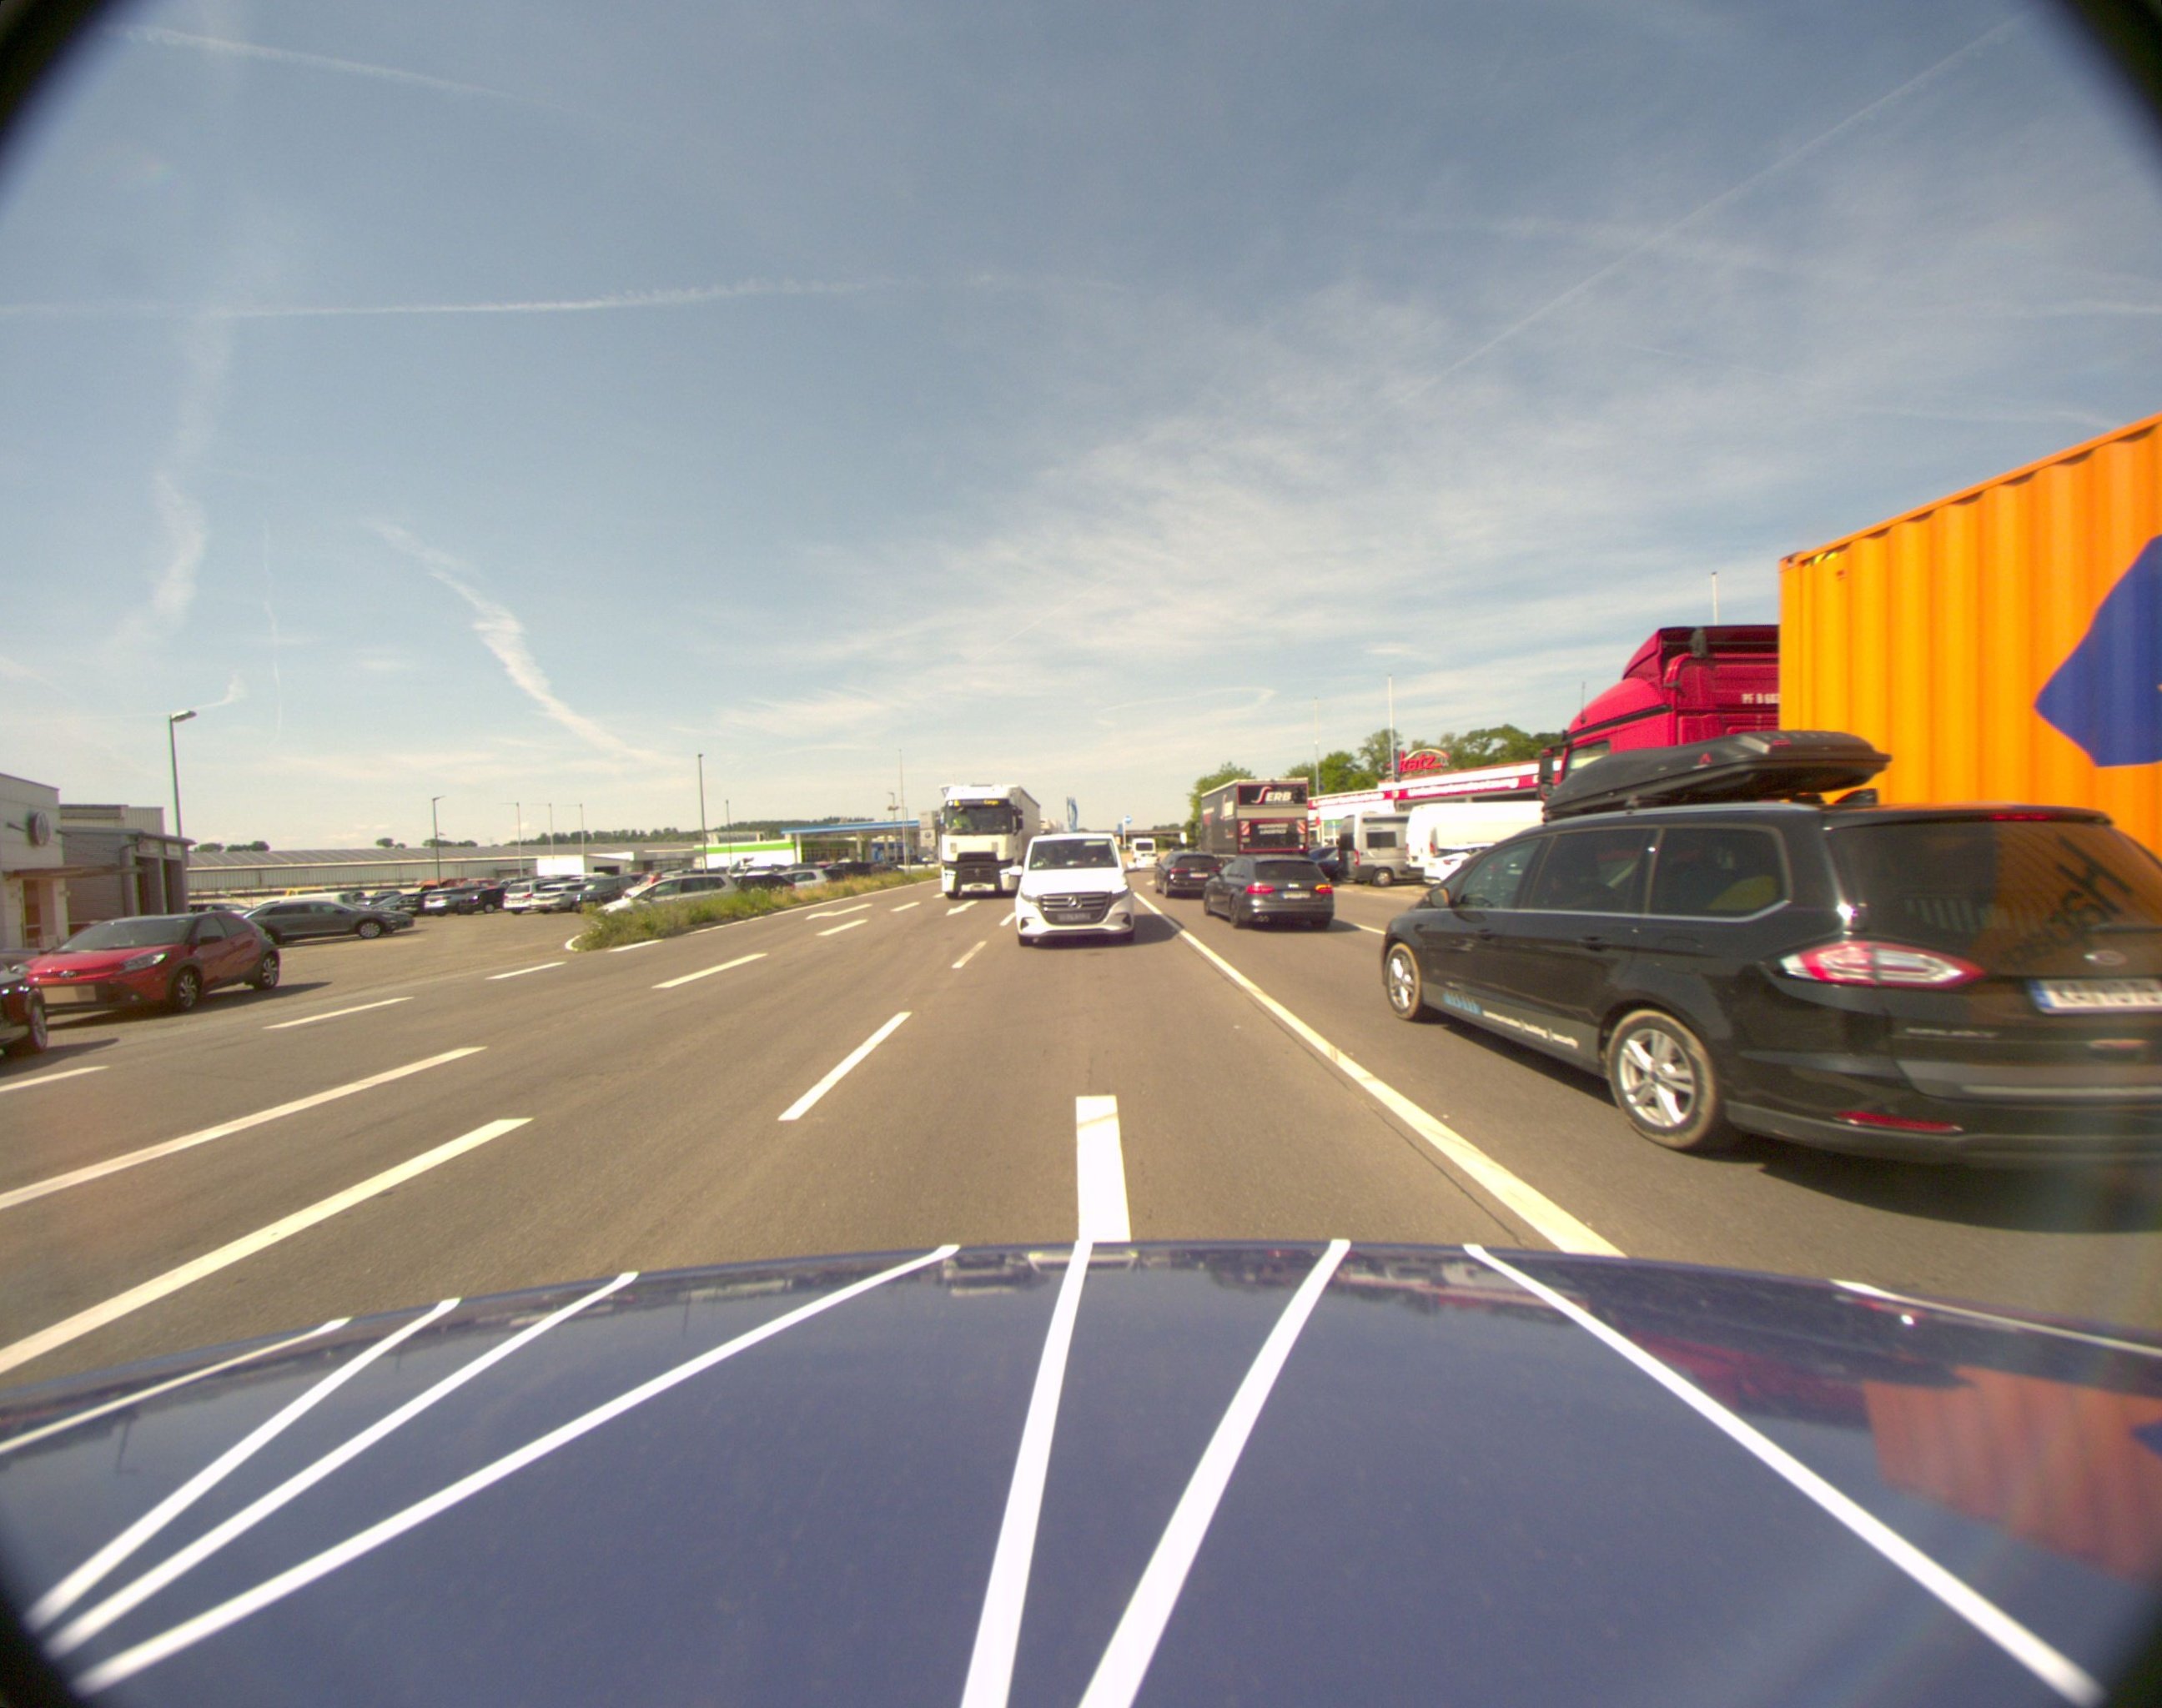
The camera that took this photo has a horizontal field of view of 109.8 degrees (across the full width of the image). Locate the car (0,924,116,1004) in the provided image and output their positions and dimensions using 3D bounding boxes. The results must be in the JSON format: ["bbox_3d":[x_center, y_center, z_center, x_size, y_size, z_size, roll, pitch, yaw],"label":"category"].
[{"bbox_3d":[-22.966,2.341,15.242,4.121,1.402,1.818,-2,1,-40],"label":"car"}]

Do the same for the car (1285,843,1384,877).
[{"bbox_3d":[11.834,0.260,35.611,3.997,1.445,1.906,-2,1,0],"label":"car"}]

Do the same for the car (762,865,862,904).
[{"bbox_3d":[-12.483,1.391,35.374,4.007,1.543,1.771,-2,1,-35],"label":"car"}]

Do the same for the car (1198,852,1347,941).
[{"bbox_3d":[3.699,0.742,15.549,1.866,1.515,4.588,-1,0,0],"label":"car"}]

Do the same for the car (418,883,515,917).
[{"bbox_3d":[-36.650,2.709,45.506,1.774,1.645,4.539,-2,1,5],"label":"car"}]

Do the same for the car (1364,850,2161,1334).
[{"bbox_3d":[3.684,0.793,4.848,1.913,1.593,4.587,-1,0,-2],"label":"car"}]

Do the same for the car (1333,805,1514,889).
[{"bbox_3d":[12.341,-0.261,27.688,5.579,2.757,2.177,-2,1,2],"label":"car"}]

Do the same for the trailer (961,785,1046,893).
[{"bbox_3d":[-3.319,-0.658,35.759,2.613,4.203,11.290,-2,1,0],"label":"trailer"}]

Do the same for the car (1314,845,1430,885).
[{"bbox_3d":[11.615,0.410,30.512,3.948,1.423,1.828,-2,1,2],"label":"car"}]

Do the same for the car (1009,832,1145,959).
[{"bbox_3d":[-0.046,0.603,14.369,1.993,1.858,5.802,-2,1,0],"label":"car"}]

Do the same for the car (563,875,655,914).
[{"bbox_3d":[-23.863,2.011,38.671,1.969,1.645,4.536,-2,1,-3],"label":"car"}]

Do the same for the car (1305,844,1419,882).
[{"bbox_3d":[12.124,0.370,33.017,4.258,1.459,1.873,-2,1,1],"label":"car"}]

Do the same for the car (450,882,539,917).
[{"bbox_3d":[-34.291,2.622,44.602,1.775,1.645,4.536,-2,1,-3],"label":"car"}]

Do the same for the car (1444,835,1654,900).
[{"bbox_3d":[12.440,0.342,20.413,4.378,1.521,2.029,-2,1,-1],"label":"car"}]

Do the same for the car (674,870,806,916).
[{"bbox_3d":[-12.985,1.422,29.023,4.350,1.444,1.772,-2,1,-32],"label":"car"}]

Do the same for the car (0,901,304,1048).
[{"bbox_3d":[-14.963,1.767,12.382,1.778,1.645,4.068,-5,2,-25],"label":"car"}]

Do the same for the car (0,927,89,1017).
[{"bbox_3d":[-21.234,2.268,13.385,4.219,1.449,1.889,-2,1,-40],"label":"car"}]

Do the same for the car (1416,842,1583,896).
[{"bbox_3d":[12.570,0.432,23.005,3.996,1.461,1.881,-2,1,2],"label":"car"}]

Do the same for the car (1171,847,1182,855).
[{"bbox_3d":[17.097,-0.583,136.642,1.858,1.452,4.001,-2,1,7],"label":"car"}]

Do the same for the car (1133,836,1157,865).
[{"bbox_3d":[5.919,-0.351,70.513,2.063,2.495,7.116,-2,1,5],"label":"car"}]

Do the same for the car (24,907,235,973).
[{"bbox_3d":[-31.534,2.790,25.416,1.771,1.645,4.179,-1,1,44],"label":"car"}]

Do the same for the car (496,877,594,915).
[{"bbox_3d":[-29.322,2.241,41.768,1.821,1.720,4.539,-2,1,6],"label":"car"}]

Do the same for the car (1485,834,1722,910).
[{"bbox_3d":[11.915,0.385,17.547,4.044,1.521,2.031,-2,1,0],"label":"car"}]

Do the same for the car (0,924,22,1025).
[{"bbox_3d":[-19.693,2.112,11.385,4.007,1.661,1.916,-2,1,-37],"label":"car"}]

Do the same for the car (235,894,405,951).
[{"bbox_3d":[-26.725,2.349,26.899,4.084,1.599,1.689,-3,0,-42],"label":"car"}]

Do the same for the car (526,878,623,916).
[{"bbox_3d":[-26.813,2.225,40.423,1.774,1.645,4.539,-2,1,5],"label":"car"}]

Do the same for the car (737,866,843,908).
[{"bbox_3d":[-12.439,1.368,32.467,4.005,1.549,1.709,-2,1,-28],"label":"car"}]

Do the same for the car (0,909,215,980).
[{"bbox_3d":[-30.261,2.726,23.412,1.771,1.645,4.559,-1,1,44],"label":"car"}]

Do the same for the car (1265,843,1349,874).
[{"bbox_3d":[11.925,0.231,40.321,3.877,1.491,1.949,-2,1,2],"label":"car"}]

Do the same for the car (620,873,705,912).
[{"bbox_3d":[-21.274,1.903,38.885,1.908,1.645,4.708,-2,1,-3],"label":"car"}]

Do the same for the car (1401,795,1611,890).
[{"bbox_3d":[13.999,-0.352,25.311,5.722,2.822,2.116,-2,0,2],"label":"car"}]

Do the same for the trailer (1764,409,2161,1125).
[{"bbox_3d":[7.605,-0.478,0.490,2.728,3.975,12.229,-2,1,-3],"label":"trailer"}]

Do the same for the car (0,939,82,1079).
[{"bbox_3d":[-11.645,1.651,7.109,1.969,1.325,4.805,-9,2,-45],"label":"car"}]
